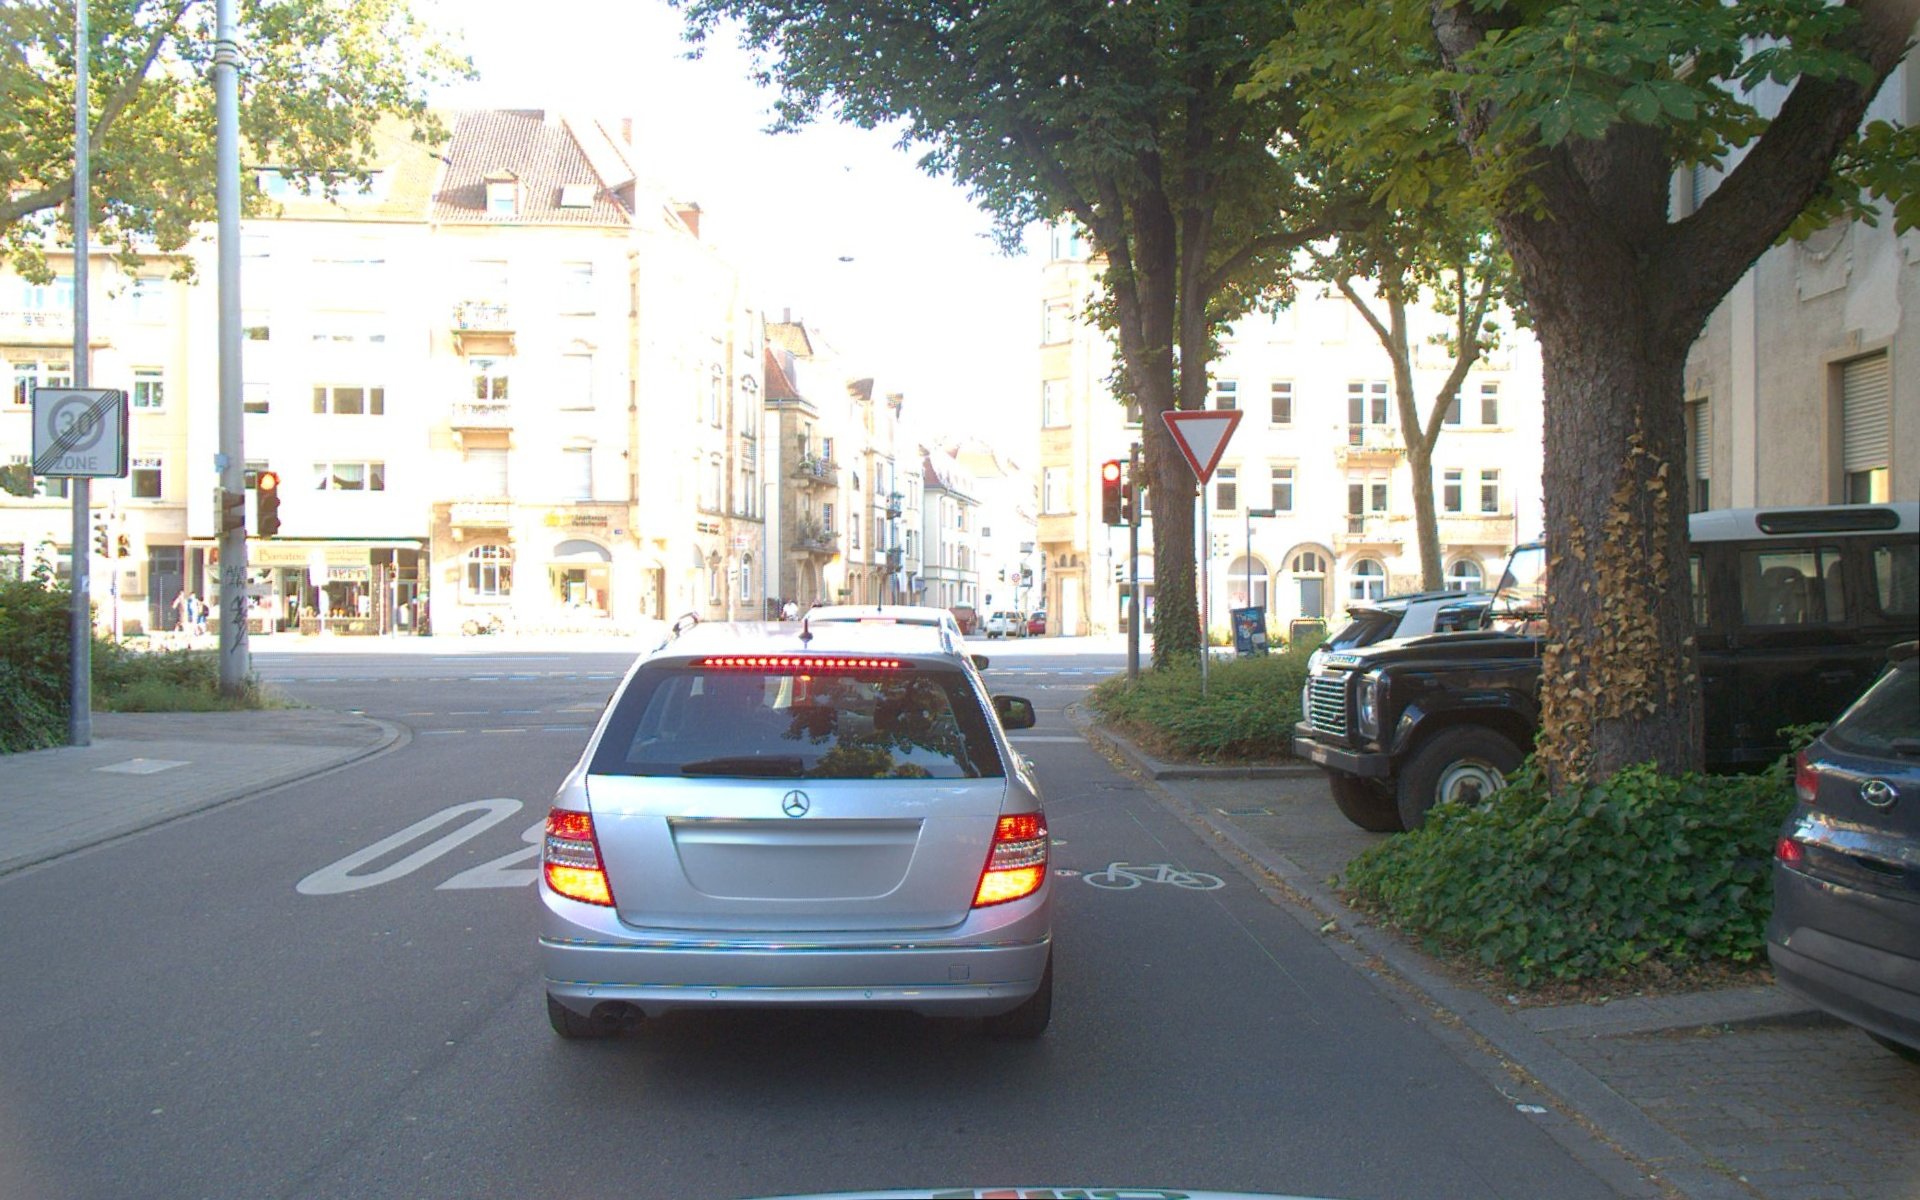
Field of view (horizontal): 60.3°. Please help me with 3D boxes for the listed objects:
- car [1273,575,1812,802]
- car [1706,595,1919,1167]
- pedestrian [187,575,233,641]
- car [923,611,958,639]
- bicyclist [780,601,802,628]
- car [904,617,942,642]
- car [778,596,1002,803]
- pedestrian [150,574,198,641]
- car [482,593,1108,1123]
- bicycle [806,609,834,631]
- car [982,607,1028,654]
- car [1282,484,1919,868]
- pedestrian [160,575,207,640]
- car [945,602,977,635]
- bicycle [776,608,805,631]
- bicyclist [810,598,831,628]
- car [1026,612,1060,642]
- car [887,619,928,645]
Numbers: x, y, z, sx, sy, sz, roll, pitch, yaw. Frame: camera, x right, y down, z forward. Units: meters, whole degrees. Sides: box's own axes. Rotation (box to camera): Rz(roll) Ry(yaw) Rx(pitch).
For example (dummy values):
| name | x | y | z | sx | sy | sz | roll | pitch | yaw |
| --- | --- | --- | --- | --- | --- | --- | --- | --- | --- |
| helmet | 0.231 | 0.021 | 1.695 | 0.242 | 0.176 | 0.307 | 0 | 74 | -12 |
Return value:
| name | x | y | z | sx | sy | sz | roll | pitch | yaw |
| --- | --- | --- | --- | --- | --- | --- | --- | --- | --- |
| car | 4.511 | 0.651 | 13.145 | 3.650 | 1.597 | 1.707 | -1 | 0 | -4 |
| car | 4.285 | 0.694 | 4.599 | 3.650 | 1.477 | 1.707 | -1 | 0 | -4 |
| pedestrian | -28.812 | 0.303 | 63.572 | 1.320 | 2.507 | 1.059 | 0 | 0 | -5 |
| car | -1.261 | 1.626 | 108.712 | 1.796 | 1.692 | 4.003 | 0 | 1 | 7 |
| bicyclist | -7.482 | 0.633 | 73.333 | 0.754 | 1.177 | 0.753 | 1 | 0 | 10 |
| car | -2.266 | 1.815 | 102.464 | 1.796 | 1.427 | 4.003 | 0 | 1 | 7 |
| car | -0.590 | 0.720 | 14.026 | 1.587 | 1.472 | 4.342 | 1 | 0 | -2 |
| pedestrian | -29.676 | 0.268 | 62.473 | 1.320 | 2.507 | 1.059 | 0 | 0 | -5 |
| car | -0.550 | 0.730 | 6.937 | 1.741 | 1.477 | 4.546 | 1 | 0 | -2 |
| bicycle | -6.204 | 0.874 | 73.361 | 0.754 | 0.950 | 1.942 | 1 | 0 | 10 |
| car | 2.360 | 1.546 | 85.907 | 1.987 | 2.319 | 4.003 | 0 | 1 | 7 |
| car | 4.370 | 0.404 | 10.177 | 4.377 | 2.072 | 1.699 | -1 | 0 | -4 |
| pedestrian | -30.150 | 0.281 | 64.226 | 1.320 | 2.507 | 1.059 | 0 | 0 | -5 |
| car | 0.091 | 1.273 | 117.327 | 1.749 | 2.242 | 4.003 | 0 | 1 | 7 |
| bicycle | -7.500 | 0.859 | 73.254 | 0.754 | 0.956 | 1.942 | 1 | 0 | 10 |
| bicyclist | -6.202 | 0.575 | 73.363 | 0.754 | 1.312 | 0.753 | 1 | 0 | 10 |
| car | 5.125 | 1.649 | 101.979 | 1.796 | 1.775 | 4.003 | 0 | 1 | 7 |
| car | -3.065 | 1.863 | 96.961 | 1.796 | 1.427 | 4.003 | 0 | 1 | 7 |
